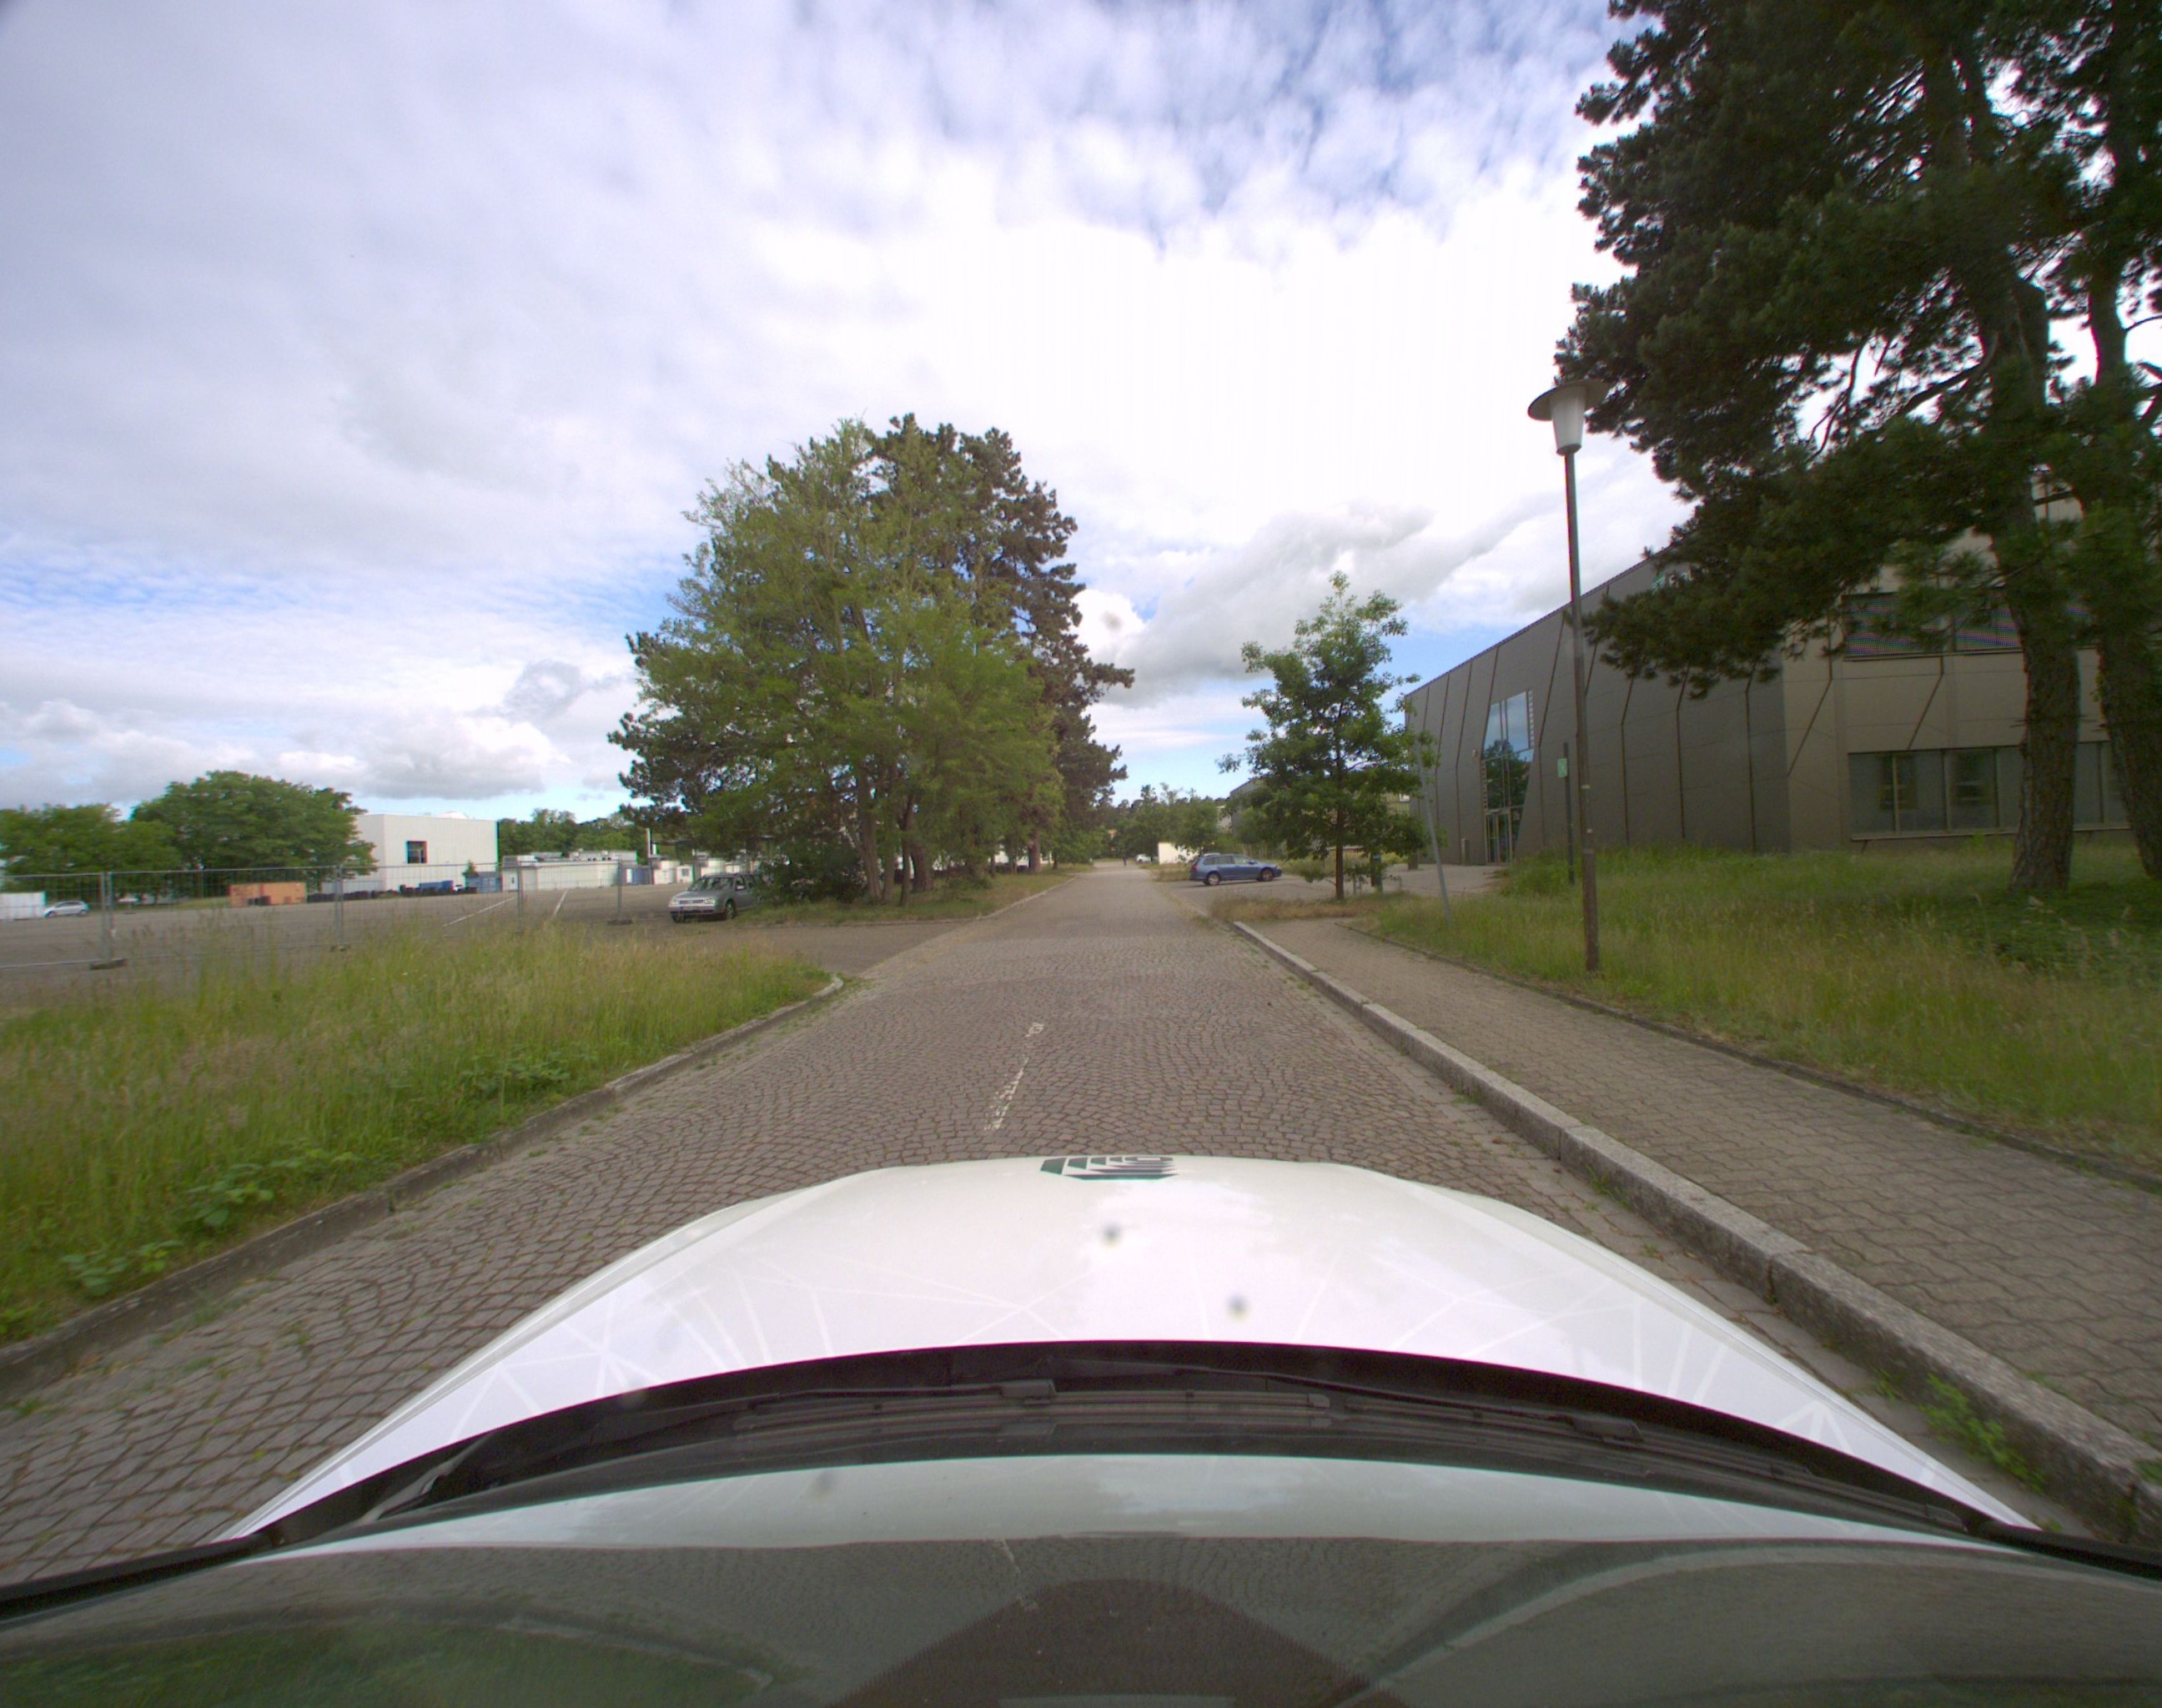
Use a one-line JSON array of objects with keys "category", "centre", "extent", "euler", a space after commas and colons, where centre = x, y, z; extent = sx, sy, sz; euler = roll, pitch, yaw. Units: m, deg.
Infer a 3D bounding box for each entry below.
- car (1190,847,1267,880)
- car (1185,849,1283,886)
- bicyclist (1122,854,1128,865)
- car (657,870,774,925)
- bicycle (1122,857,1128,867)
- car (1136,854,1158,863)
[{"category": "car", "centre": [8.617, 0.557, 47.731], "extent": [4.094, 1.572, 1.765], "euler": [-4, 0, 0]}, {"category": "car", "centre": [7.517, 0.650, 40.307], "extent": [4.466, 1.462, 1.934], "euler": [-4, 0, 0]}, {"category": "bicyclist", "centre": [6.447, 0.786, 119.443], "extent": [0.894, 1.542, 0.868], "euler": [-2, 1, 1]}, {"category": "car", "centre": [-11.608, 1.335, 26.209], "extent": [1.723, 1.432, 4.163], "euler": [-2, 1, 2]}, {"category": "bicycle", "centre": [6.467, 1.210, 119.447], "extent": [0.820, 1.376, 2.043], "euler": [-2, 1, 2]}, {"category": "car", "centre": [12.949, 0.904, 160.085], "extent": [4.303, 1.549, 2.002], "euler": [-2, 0, 3]}]
